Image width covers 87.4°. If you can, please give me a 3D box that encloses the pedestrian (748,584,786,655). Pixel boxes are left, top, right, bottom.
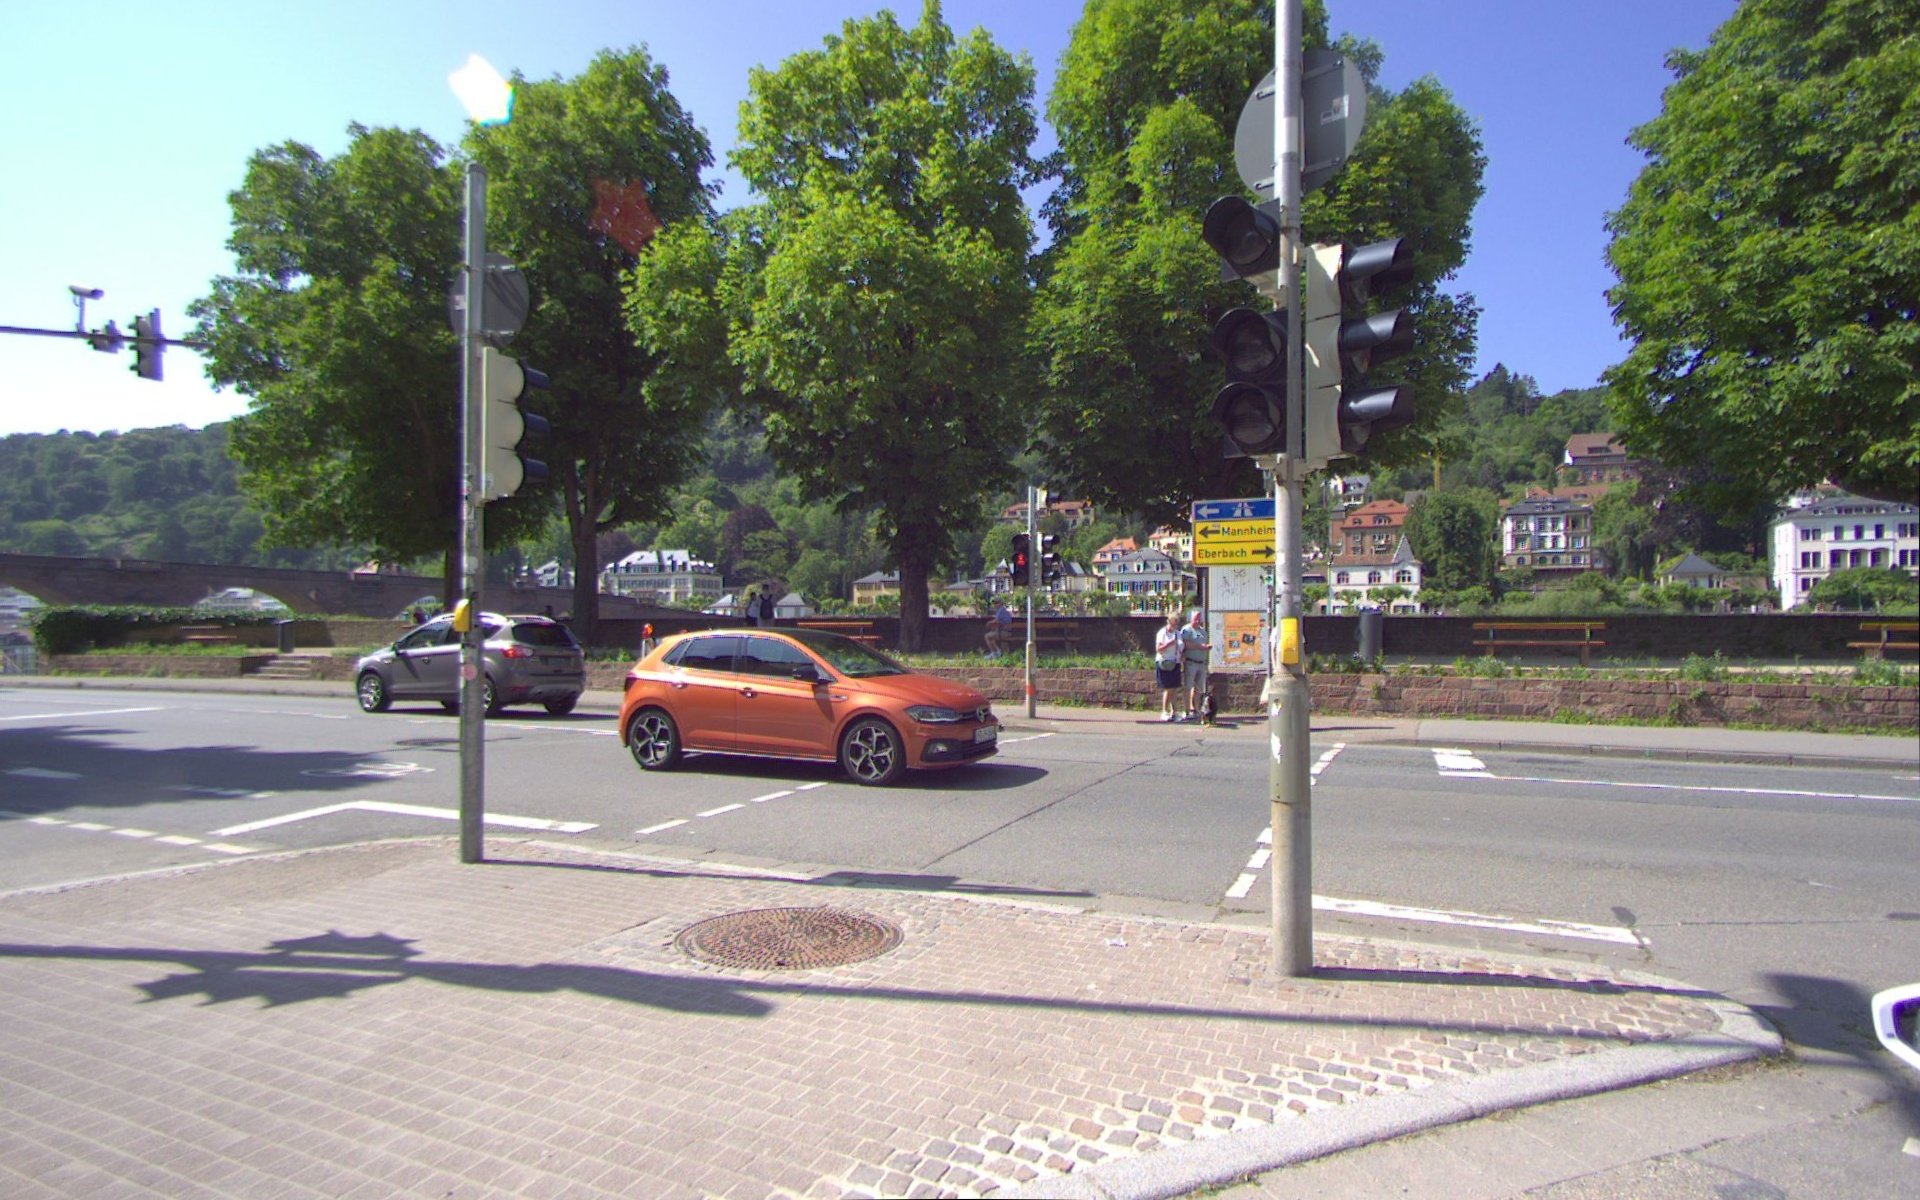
[{"bbox_3d":[-5.194,0.532,27.051,0.749,1.882,0.757,1,-2,7],"label":"pedestrian"}]

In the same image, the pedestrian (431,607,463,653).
[{"bbox_3d":[-14.507,0.842,28.392,0.460,1.287,0.631,-1,-2,28],"label":"pedestrian"}]

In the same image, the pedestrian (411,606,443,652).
[{"bbox_3d":[-15.275,0.829,28.801,0.460,1.287,0.631,-1,-2,28],"label":"pedestrian"}]

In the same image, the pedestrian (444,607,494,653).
[{"bbox_3d":[-13.887,0.862,28.421,0.460,1.287,1.222,-1,-2,28],"label":"pedestrian"}]

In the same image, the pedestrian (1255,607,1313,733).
[{"bbox_3d":[4.813,1.022,14.920,0.693,1.825,0.579,-1,-2,31],"label":"pedestrian"}]

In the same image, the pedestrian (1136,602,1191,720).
[{"bbox_3d":[3.253,0.969,16.044,0.623,1.825,0.722,-2,-4,34],"label":"pedestrian"}]

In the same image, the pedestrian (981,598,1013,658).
[{"bbox_3d":[0.790,0.601,21.381,0.630,1.244,0.414,-1,-3,7],"label":"pedestrian"}]

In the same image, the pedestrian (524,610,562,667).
[{"bbox_3d":[-11.125,1.025,26.796,0.460,1.512,0.803,-1,-2,28],"label":"pedestrian"}]

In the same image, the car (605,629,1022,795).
[{"bbox_3d":[-1.512,1.023,10.343,3.941,1.424,1.729,-1,-2,24],"label":"car"}]

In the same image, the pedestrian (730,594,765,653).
[{"bbox_3d":[-6.444,0.712,30.436,0.696,1.754,0.757,0,-2,19],"label":"pedestrian"}]

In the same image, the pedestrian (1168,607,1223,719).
[{"bbox_3d":[3.876,1.023,16.510,0.679,1.793,0.715,-1,-2,34],"label":"pedestrian"}]

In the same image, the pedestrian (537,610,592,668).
[{"bbox_3d":[-10.535,1.050,26.771,0.460,1.499,1.383,-1,-2,28],"label":"pedestrian"}]

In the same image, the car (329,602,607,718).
[{"bbox_3d":[-8.549,1.026,17.481,4.324,1.776,1.845,1,-5,22],"label":"car"}]
